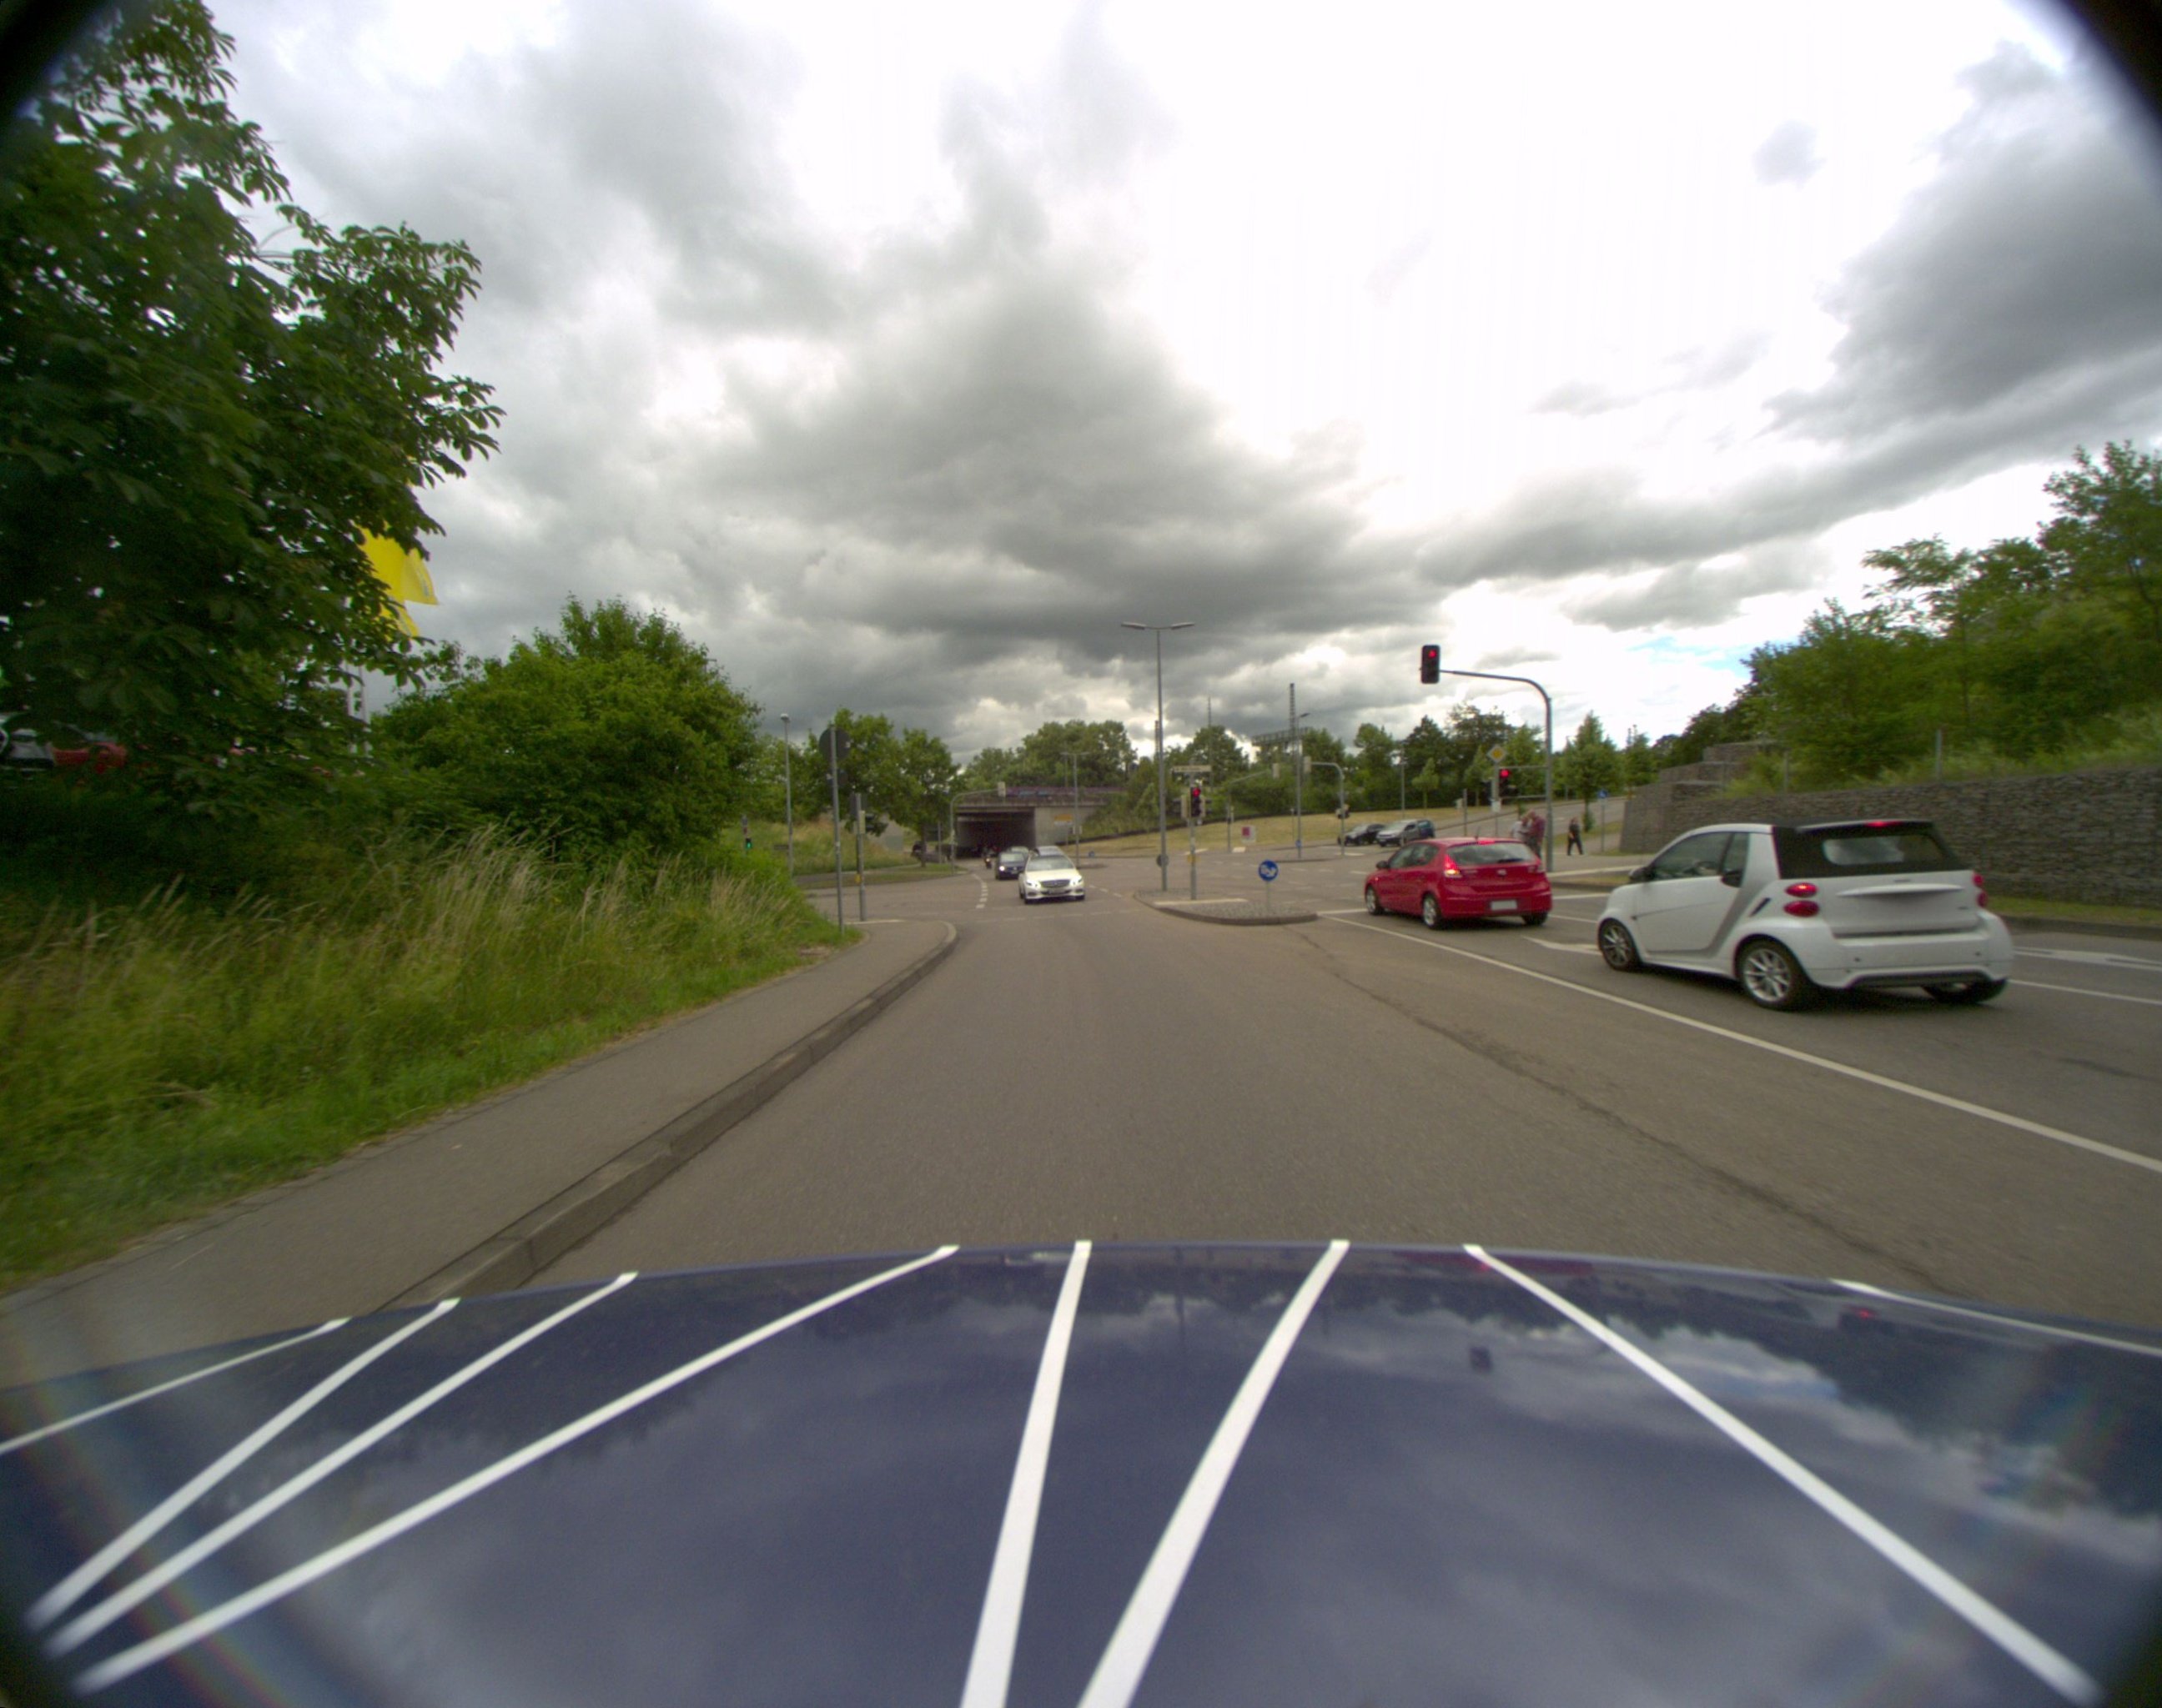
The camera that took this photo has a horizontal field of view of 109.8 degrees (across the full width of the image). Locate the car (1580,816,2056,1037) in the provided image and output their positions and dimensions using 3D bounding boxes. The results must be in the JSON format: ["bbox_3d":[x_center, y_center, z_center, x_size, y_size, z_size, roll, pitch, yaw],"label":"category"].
[{"bbox_3d":[6.264,0.514,6.933,1.547,1.514,2.914,-3,1,3],"label":"car"}]

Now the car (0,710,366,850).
[{"bbox_3d":[-13.077,-0.972,10.293,4.517,1.629,1.827,-5,3,-29],"label":"car"}]

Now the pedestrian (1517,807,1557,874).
[{"bbox_3d":[12.703,-0.375,21.169,0.624,1.817,0.664,-4,3,-21],"label":"pedestrian"}]

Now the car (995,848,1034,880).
[{"bbox_3d":[-3.685,0.520,42.613,1.759,1.532,3.998,-3,2,0],"label":"car"}]

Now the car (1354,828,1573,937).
[{"bbox_3d":[6.396,0.368,13.282,1.758,1.515,4.092,-3,1,1],"label":"car"}]

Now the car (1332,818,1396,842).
[{"bbox_3d":[21.272,-1.786,57.060,4.267,1.543,2.106,-5,2,-27],"label":"car"}]

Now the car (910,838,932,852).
[{"bbox_3d":[-22.550,-1.237,107.036,1.968,1.781,3.991,-5,2,-27],"label":"car"}]

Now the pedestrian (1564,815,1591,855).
[{"bbox_3d":[19.628,-0.748,30.027,0.580,1.549,0.623,-4,3,-17],"label":"pedestrian"}]

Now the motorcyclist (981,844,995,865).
[{"bbox_3d":[-7.251,0.014,59.346,0.883,1.596,1.242,-4,2,-13],"label":"motorcyclist"}]

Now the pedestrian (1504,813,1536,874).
[{"bbox_3d":[12.548,-0.301,21.725,0.664,1.669,0.625,-3,3,21],"label":"pedestrian"}]

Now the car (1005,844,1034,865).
[{"bbox_3d":[-5.093,-0.024,62.301,1.760,1.525,4.249,-4,2,-11],"label":"car"}]

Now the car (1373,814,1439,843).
[{"bbox_3d":[22.764,-1.794,53.201,4.267,1.719,1.756,-4,2,-24],"label":"car"}]

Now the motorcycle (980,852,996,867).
[{"bbox_3d":[-7.283,0.442,59.582,0.883,1.098,2.357,-4,2,-14],"label":"motorcycle"}]

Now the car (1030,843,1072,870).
[{"bbox_3d":[-2.096,0.118,51.662,1.832,1.629,4.505,-4,2,-15],"label":"car"}]

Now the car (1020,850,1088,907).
[{"bbox_3d":[-0.972,0.725,24.799,1.906,1.472,4.091,-4,2,-5],"label":"car"}]
